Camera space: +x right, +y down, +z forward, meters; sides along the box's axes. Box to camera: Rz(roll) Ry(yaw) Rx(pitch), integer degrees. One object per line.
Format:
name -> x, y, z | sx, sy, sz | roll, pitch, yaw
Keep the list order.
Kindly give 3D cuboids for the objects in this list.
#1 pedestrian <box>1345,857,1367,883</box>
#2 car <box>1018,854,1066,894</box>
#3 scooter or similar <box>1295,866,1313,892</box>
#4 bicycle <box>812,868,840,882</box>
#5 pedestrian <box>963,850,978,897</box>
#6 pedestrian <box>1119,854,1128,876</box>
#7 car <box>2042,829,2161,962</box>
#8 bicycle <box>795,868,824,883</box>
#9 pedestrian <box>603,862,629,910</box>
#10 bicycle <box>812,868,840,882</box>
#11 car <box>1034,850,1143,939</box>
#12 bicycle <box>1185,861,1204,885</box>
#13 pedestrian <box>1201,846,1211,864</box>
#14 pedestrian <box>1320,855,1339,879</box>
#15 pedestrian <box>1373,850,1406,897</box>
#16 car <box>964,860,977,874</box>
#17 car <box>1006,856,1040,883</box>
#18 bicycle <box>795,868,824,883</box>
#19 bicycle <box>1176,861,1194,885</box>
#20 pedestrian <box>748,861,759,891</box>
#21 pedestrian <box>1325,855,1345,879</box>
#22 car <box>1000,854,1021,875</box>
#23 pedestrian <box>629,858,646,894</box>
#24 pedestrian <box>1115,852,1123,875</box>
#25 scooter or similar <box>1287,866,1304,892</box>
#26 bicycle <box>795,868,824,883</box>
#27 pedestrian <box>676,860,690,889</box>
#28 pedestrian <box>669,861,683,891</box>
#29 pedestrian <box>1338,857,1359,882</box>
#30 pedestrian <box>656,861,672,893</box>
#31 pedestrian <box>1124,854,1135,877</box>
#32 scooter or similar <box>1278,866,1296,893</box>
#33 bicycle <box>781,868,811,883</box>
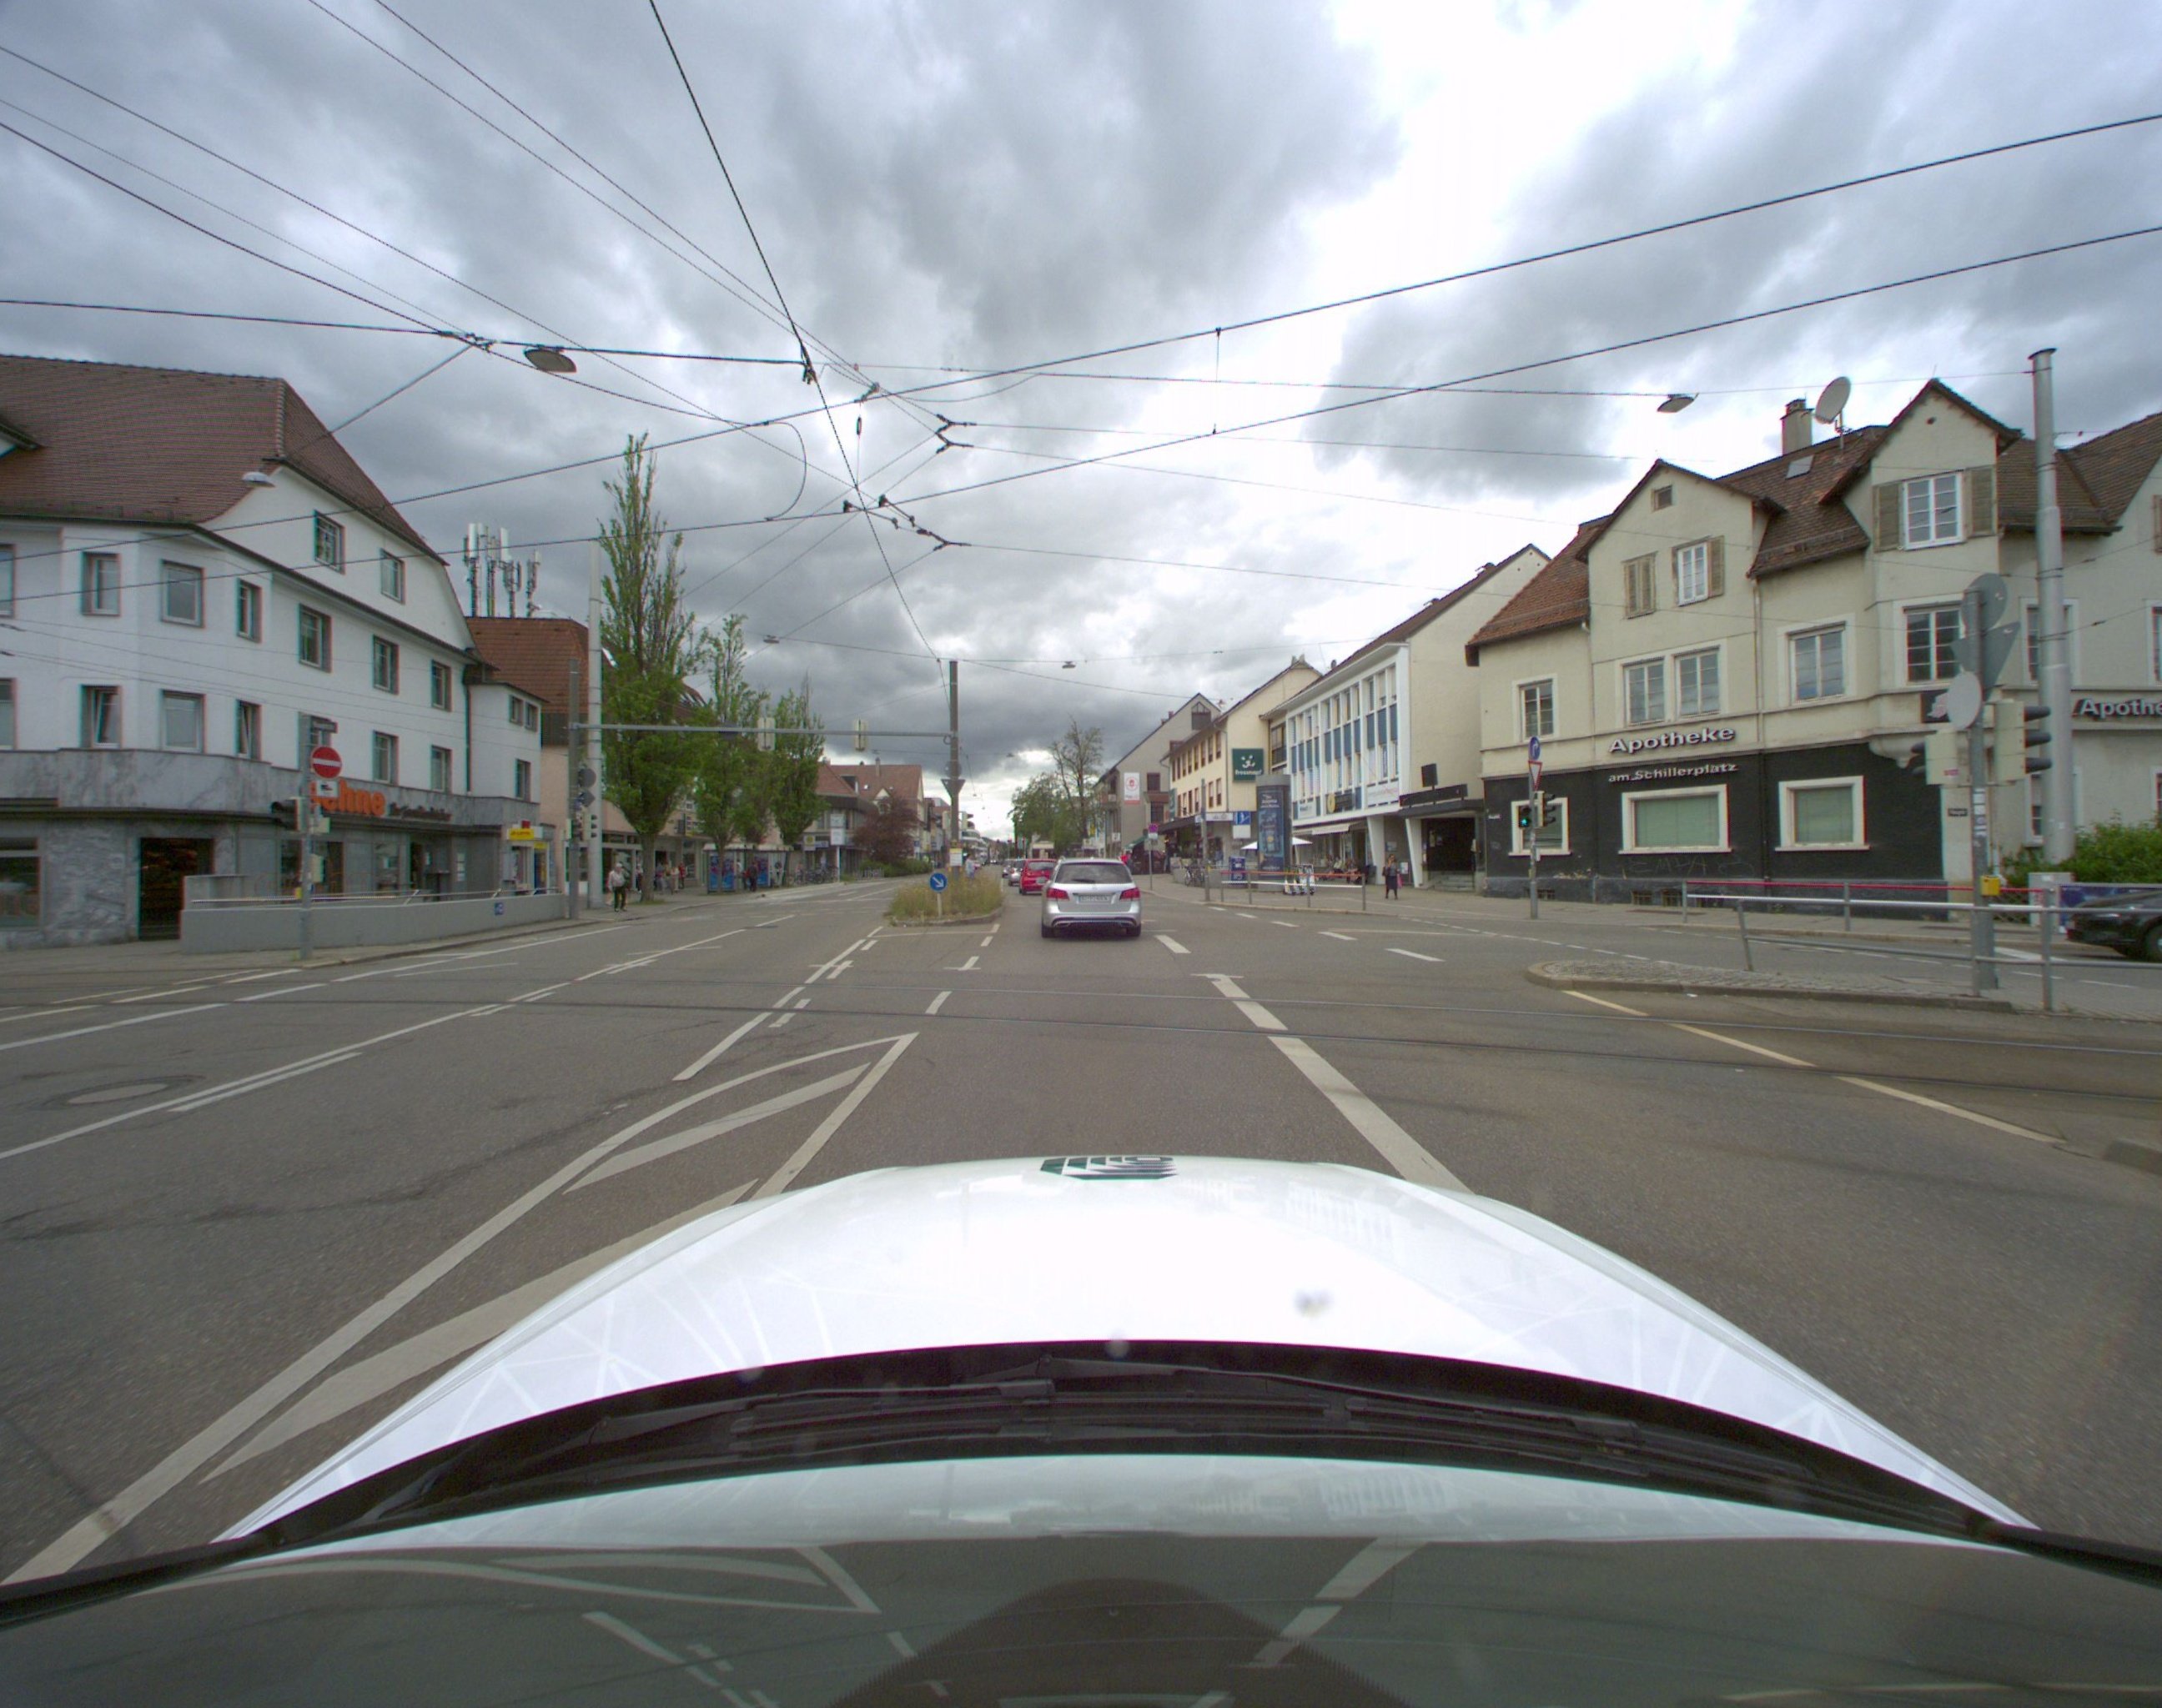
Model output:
pedestrian -> 12.476, 0.717, 36.958 | 0.736, 1.164, 0.641 | 0, -1, -8
car -> -1.675, 0.790, 33.658 | 1.732, 1.508, 3.991 | -1, 0, -6
scooter or similar -> 8.842, 0.986, 32.289 | 0.271, 1.001, 1.026 | -1, 0, -9
bicycle -> -19.425, 1.579, 62.066 | 1.941, 1.029, 0.527 | 0, -1, -15
pedestrian -> -4.218, 0.730, 31.015 | 0.532, 1.763, 0.578 | -1, -1, -7
pedestrian -> 2.872, 0.735, 55.119 | 0.575, 1.469, 0.652 | 0, -1, 4
car -> 17.340, 0.571, 11.469 | 4.635, 1.820, 1.877 | 0, 4, 38
bicycle -> -19.567, 1.552, 58.716 | 1.941, 1.029, 0.527 | 0, -1, -15
pedestrian -> -15.747, 1.077, 27.588 | 0.635, 1.606, 0.700 | -1, -1, -18
bicycle -> -19.135, 1.573, 61.119 | 1.941, 1.029, 0.527 | 0, -1, -15
car -> 0.268, 0.694, 16.092 | 1.837, 1.508, 4.175 | -1, 0, 4
bicycle -> 5.430, 0.898, 39.158 | 0.447, 1.107, 2.146 | -1, 0, -4
pedestrian -> 8.409, 0.073, 54.971 | 0.533, 1.218, 0.578 | 0, -1, -8
pedestrian -> 12.481, 0.645, 40.879 | 0.736, 1.164, 0.641 | 0, -1, -8
pedestrian -> 10.676, 0.673, 28.195 | 0.644, 1.591, 0.890 | 1, -1, -25
car -> -17.100, 1.981, 126.349 | 1.992, 2.013, 3.990 | 0, 0, -7
car -> -3.402, 0.862, 47.435 | 1.733, 1.508, 3.990 | -1, 0, -7
bicycle -> -19.371, 1.548, 58.074 | 1.941, 1.029, 0.527 | 0, -1, -15
bicycle -> 4.984, 0.912, 39.113 | 0.447, 1.091, 2.146 | -1, 0, -4
pedestrian -> -17.154, 1.143, 42.645 | 0.535, 1.546, 0.575 | -1, -1, -22
pedestrian -> 12.552, 0.635, 40.210 | 0.736, 1.164, 0.641 | 0, -1, -8
car -> -6.401, 0.929, 74.088 | 1.731, 1.759, 3.994 | -1, 0, -4
pedestrian -> -22.711, 1.135, 41.721 | 0.644, 1.836, 0.576 | -1, -1, -19
pedestrian -> 2.744, 0.671, 58.892 | 0.576, 1.666, 0.651 | 0, -1, 1
scooter or similar -> 8.483, 0.991, 32.222 | 0.271, 1.001, 1.026 | -1, 0, -9
bicycle -> -19.748, 1.555, 59.293 | 1.941, 1.029, 0.527 | 0, -1, -15
pedestrian -> -22.367, 1.168, 45.762 | 0.579, 1.606, 0.640 | -1, -1, -18
pedestrian -> -21.497, 1.153, 43.214 | 0.579, 1.606, 0.640 | -1, -1, -18
pedestrian -> 12.376, 0.722, 37.648 | 0.736, 1.164, 0.641 | 0, -1, -8
pedestrian -> -20.731, 1.136, 40.515 | 0.579, 1.606, 0.640 | -1, -1, -18
pedestrian -> 2.970, 0.720, 50.207 | 0.577, 1.435, 0.650 | 0, -1, -4
scooter or similar -> 8.123, 1.000, 32.147 | 0.271, 1.001, 1.026 | -1, 0, -9
bicycle -> -20.034, 1.538, 57.268 | 1.941, 1.029, 0.527 | 0, -1, -15
